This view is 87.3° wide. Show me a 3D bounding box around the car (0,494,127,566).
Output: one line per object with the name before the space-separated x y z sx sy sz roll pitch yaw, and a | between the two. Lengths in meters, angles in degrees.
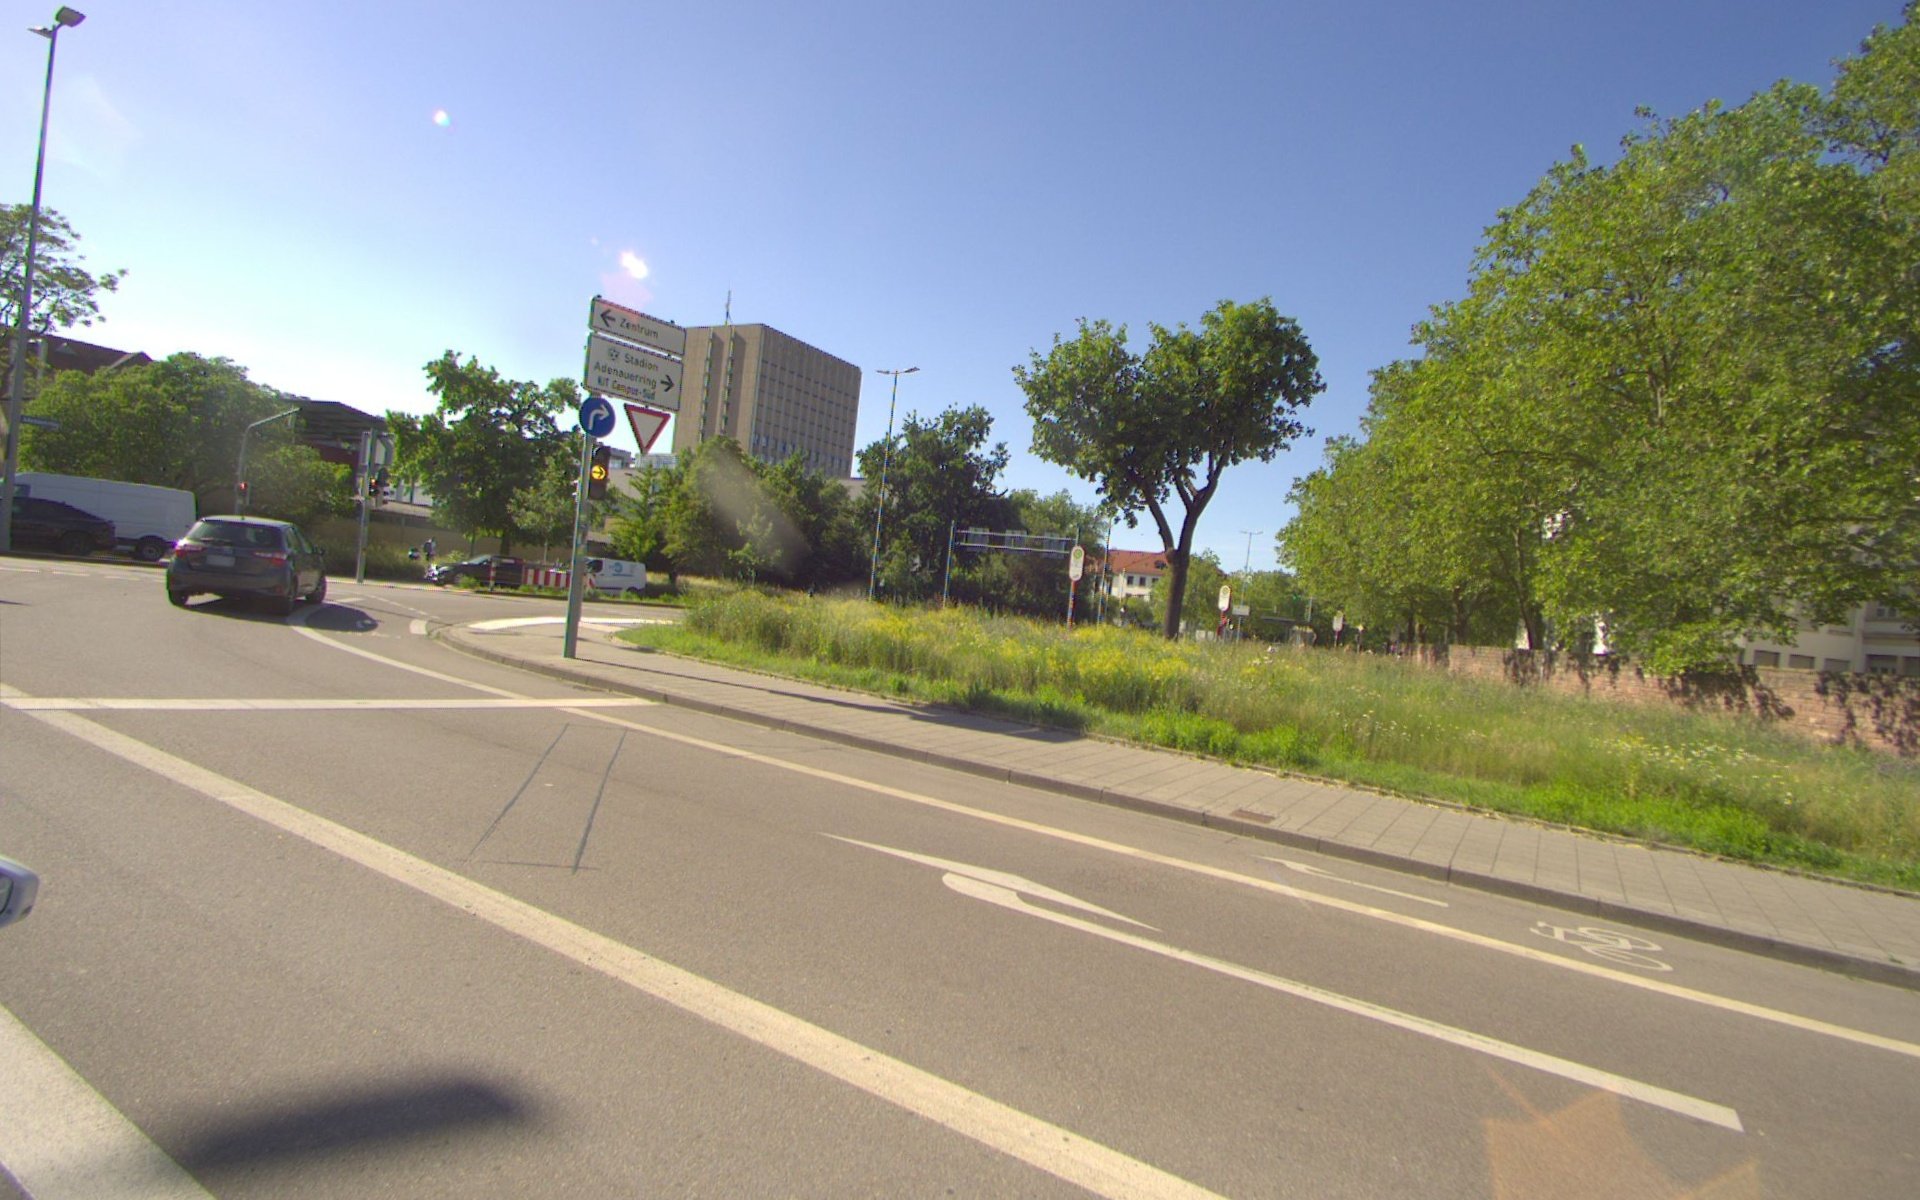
car | -27.987 -2.212 29.562 1.971 1.691 5.030 5 -3 38

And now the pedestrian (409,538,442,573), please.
pedestrian | -25.878 -2.144 48.714 0.871 1.540 0.971 7 1 35

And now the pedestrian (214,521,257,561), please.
pedestrian | -31.001 -2.531 43.055 0.927 1.540 1.146 7 1 37

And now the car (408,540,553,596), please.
car | -19.413 -1.265 40.934 2.070 1.601 4.840 7 0 38

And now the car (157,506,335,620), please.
car | -12.357 -0.656 17.691 1.722 1.534 3.975 8 -1 -25

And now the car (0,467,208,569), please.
car | -29.643 -2.786 33.374 2.970 2.578 6.926 7 0 41

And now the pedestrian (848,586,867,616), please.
pedestrian | -7.750 0.078 76.112 0.800 2.105 0.896 7 1 35

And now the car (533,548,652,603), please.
car | -17.719 -1.155 48.703 2.039 2.038 5.001 7 0 34

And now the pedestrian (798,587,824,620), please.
pedestrian | -10.482 0.243 70.807 1.065 2.105 1.231 7 1 35

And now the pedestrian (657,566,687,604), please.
pedestrian | -17.088 -0.880 59.776 0.966 2.105 1.187 7 1 35

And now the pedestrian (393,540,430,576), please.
pedestrian | -26.692 -2.045 48.963 0.975 1.540 1.129 7 1 35
